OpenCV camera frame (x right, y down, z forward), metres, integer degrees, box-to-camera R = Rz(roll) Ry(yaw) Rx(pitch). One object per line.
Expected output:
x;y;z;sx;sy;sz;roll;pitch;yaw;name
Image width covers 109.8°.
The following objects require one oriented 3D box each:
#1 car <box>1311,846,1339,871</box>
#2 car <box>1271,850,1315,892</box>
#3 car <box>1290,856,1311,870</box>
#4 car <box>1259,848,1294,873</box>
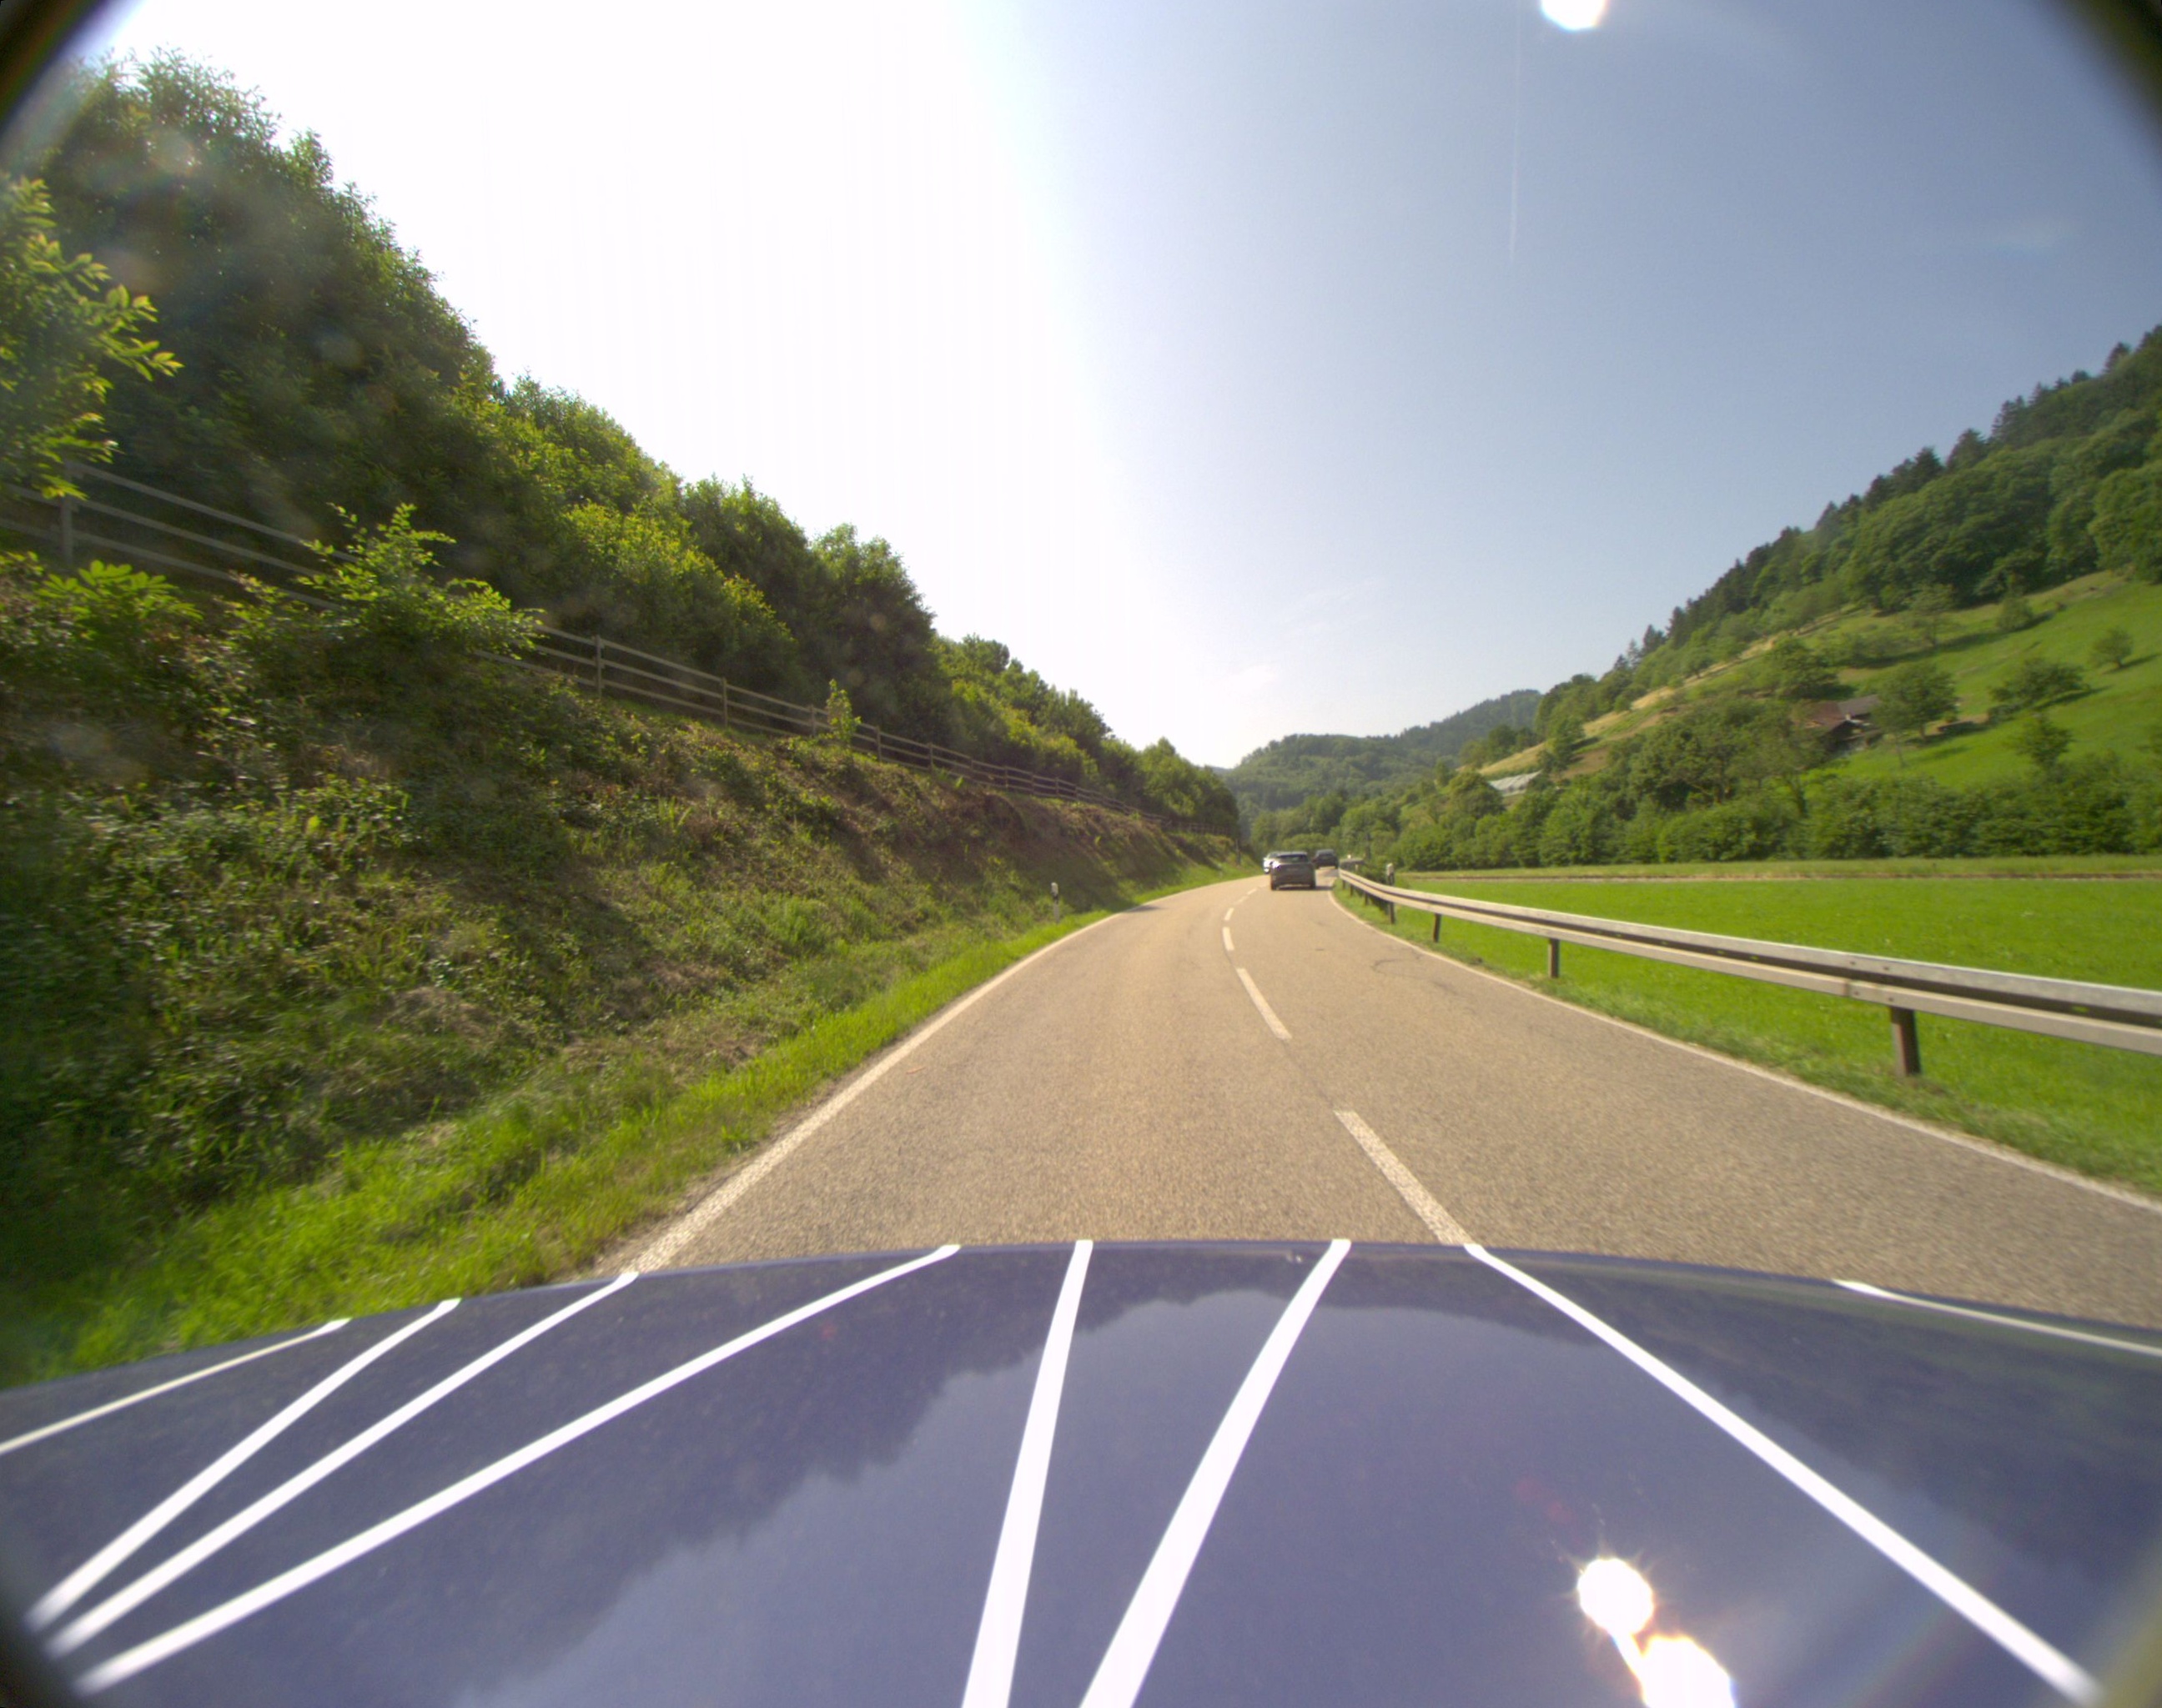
21.245;0.408;66.140;1.995;2.002;4.005;-2;1;22;car
9.005;0.692;32.469;1.710;1.665;4.005;-1;0;14;car
23.204;0.929;80.234;2.143;1.482;4.678;-1;0;17;car
15.920;0.511;61.727;2.115;1.803;4.462;-4;-1;21;car
